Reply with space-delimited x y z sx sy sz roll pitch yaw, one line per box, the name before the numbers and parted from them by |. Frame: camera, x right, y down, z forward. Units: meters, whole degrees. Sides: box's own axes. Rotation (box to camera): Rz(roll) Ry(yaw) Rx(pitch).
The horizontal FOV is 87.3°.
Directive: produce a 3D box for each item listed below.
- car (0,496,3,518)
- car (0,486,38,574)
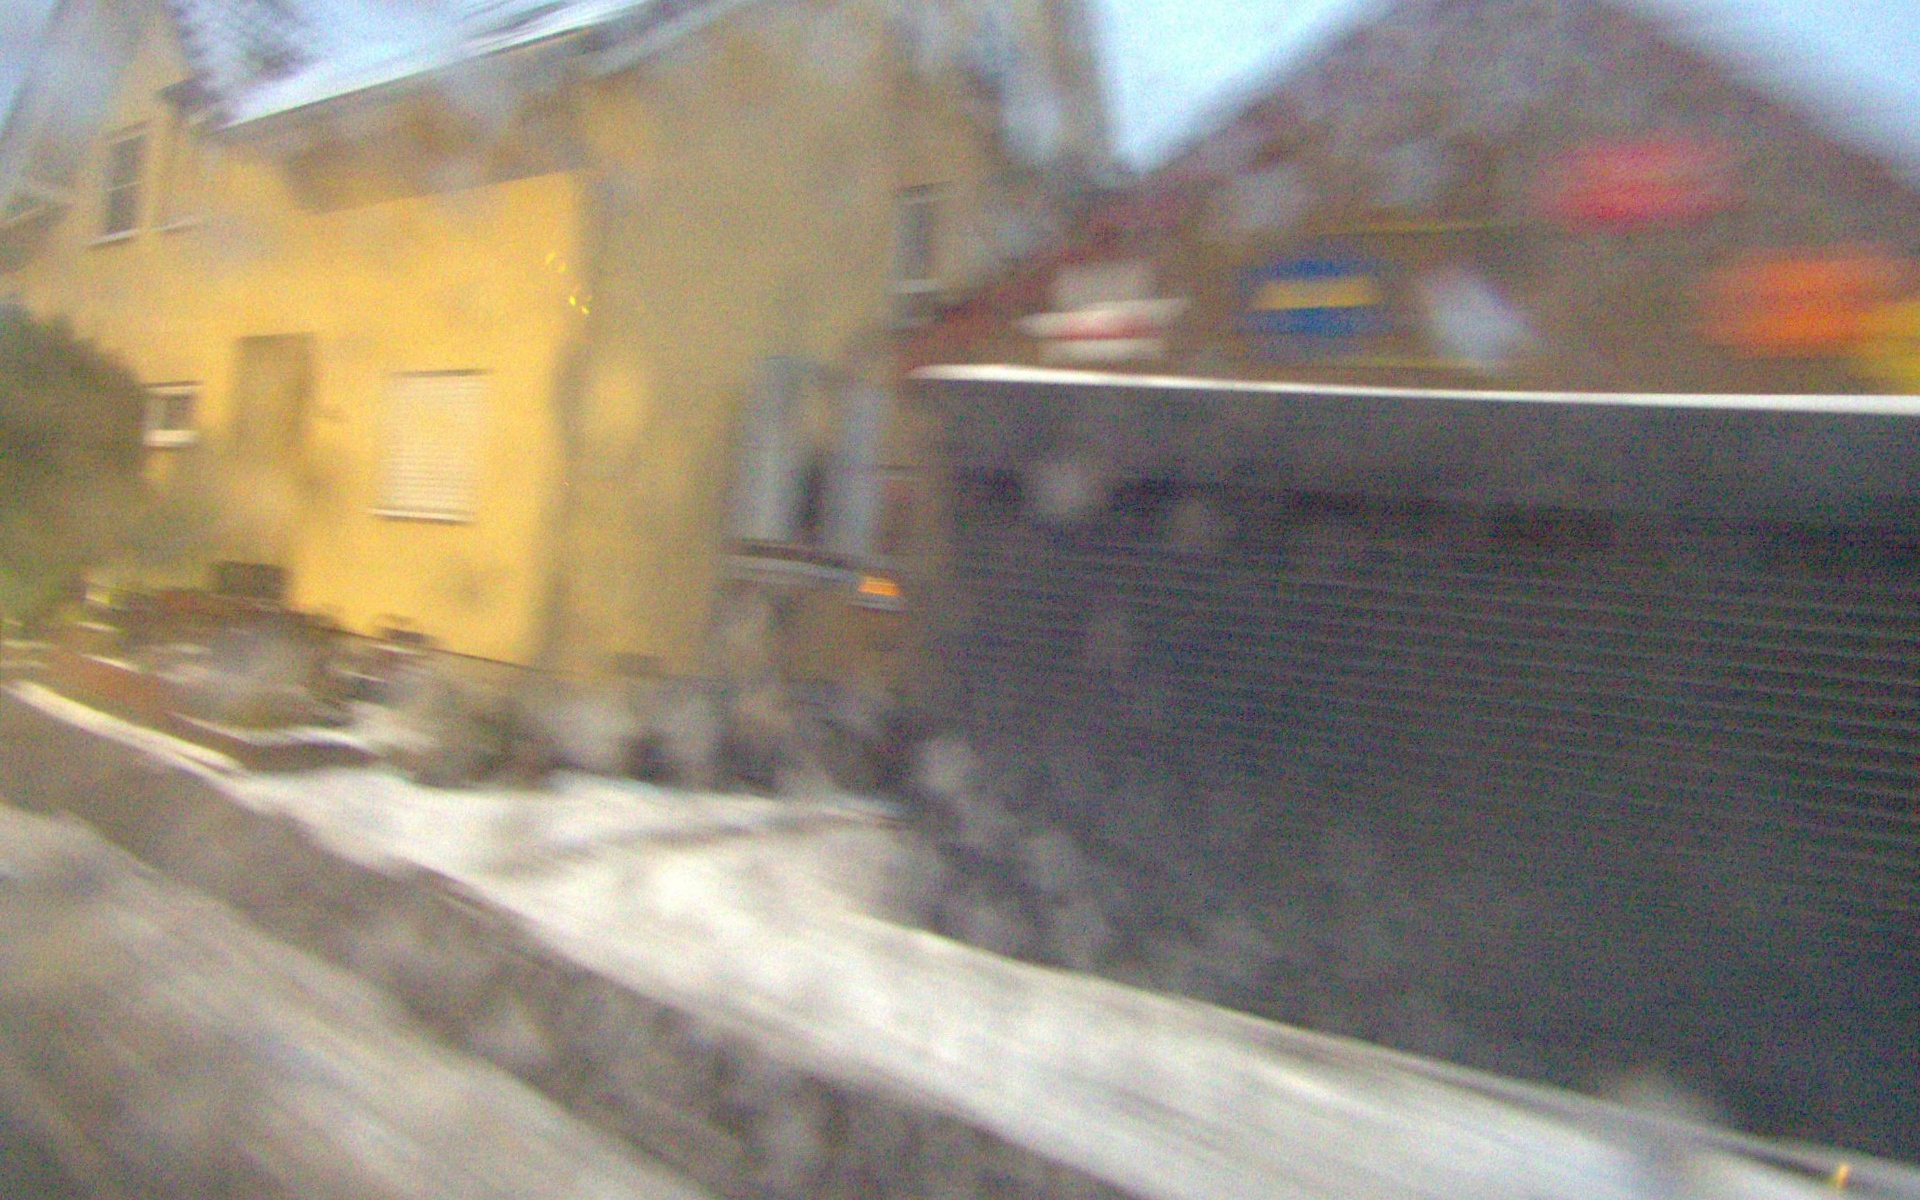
car | -20.804 -1.657 18.485 1.867 1.449 4.184 8 -2 26
car | -18.360 -1.463 16.893 1.789 1.514 3.752 7 -1 25
